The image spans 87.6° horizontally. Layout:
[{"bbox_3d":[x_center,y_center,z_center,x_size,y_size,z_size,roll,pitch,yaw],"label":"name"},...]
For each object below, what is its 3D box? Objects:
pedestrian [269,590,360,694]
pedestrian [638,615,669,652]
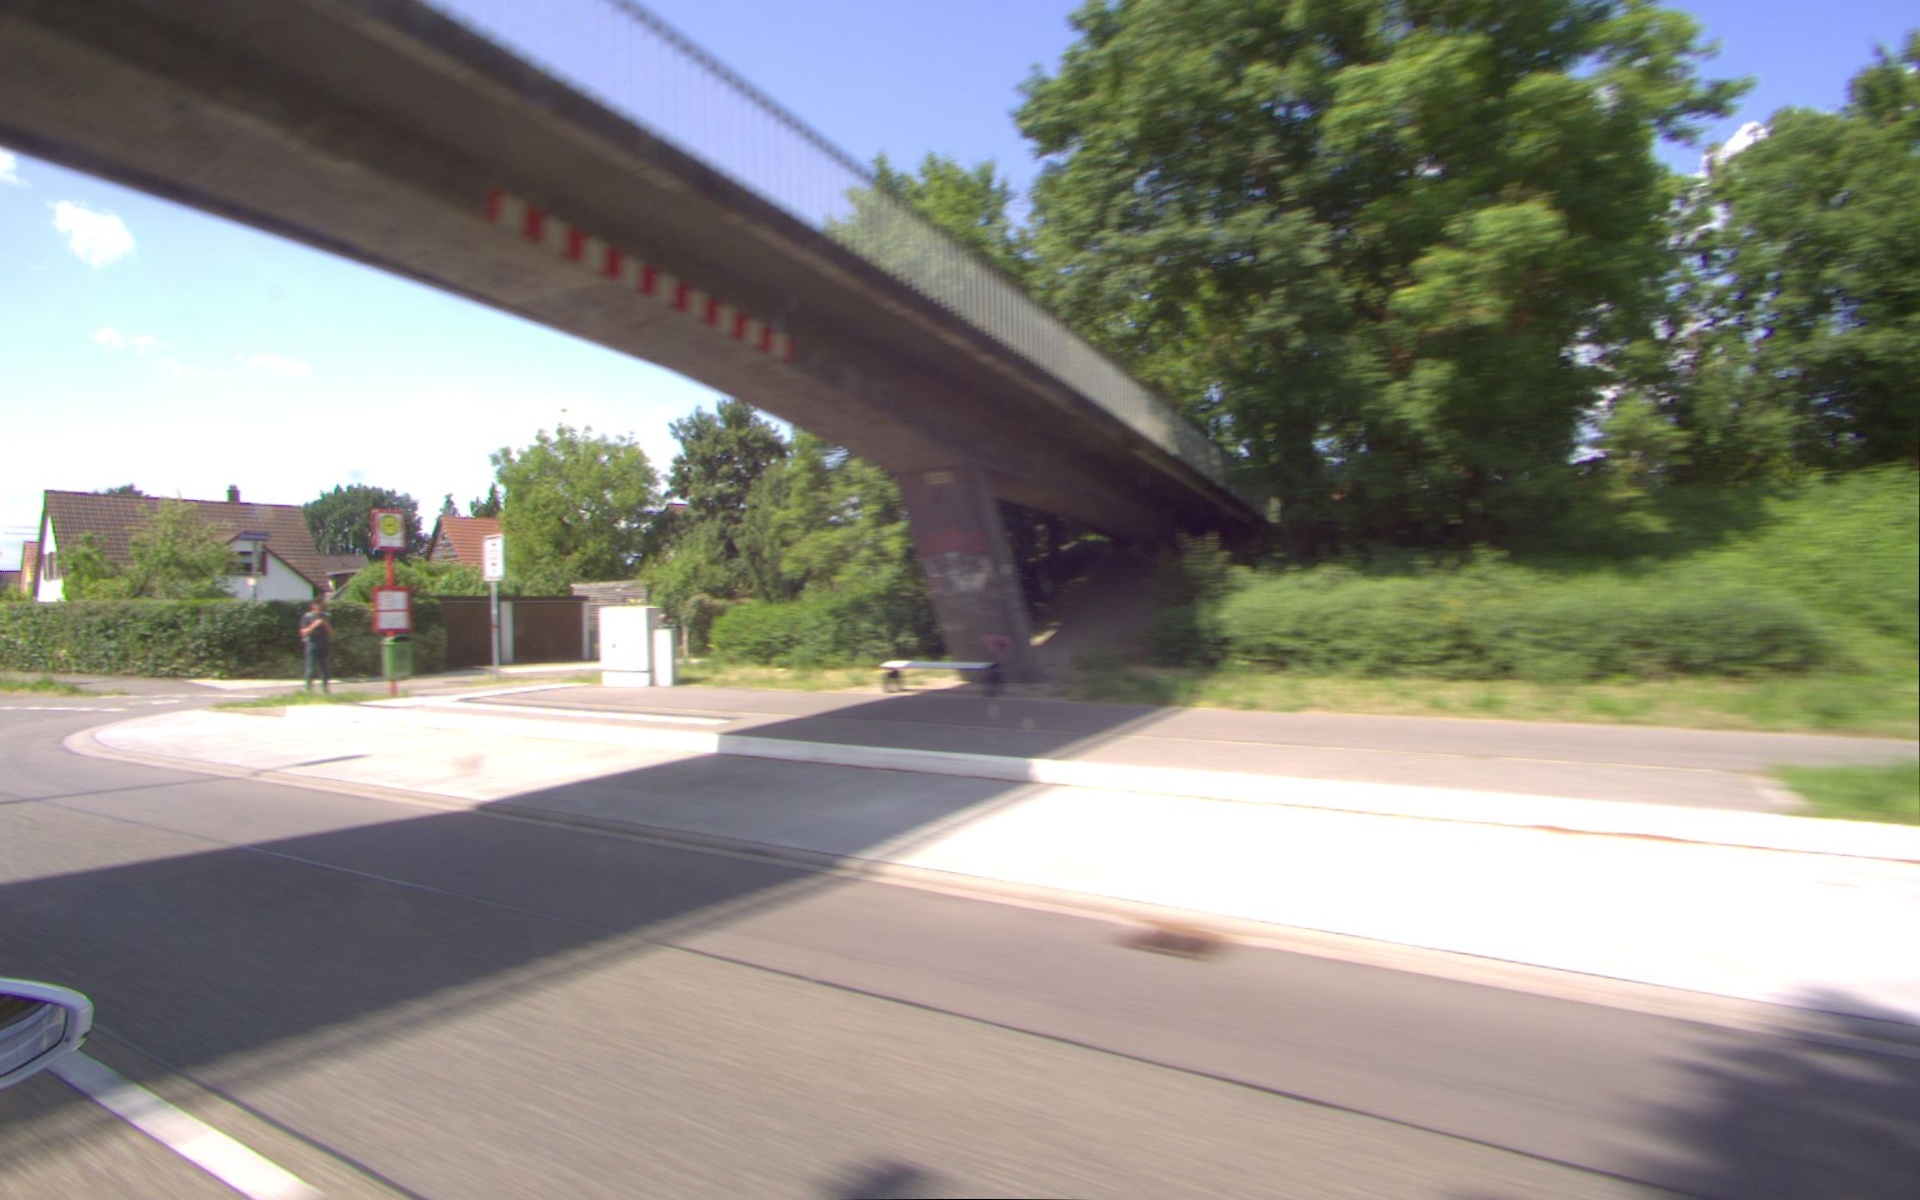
[{"bbox_3d":[-11.953,0.771,18.552,1.072,1.848,0.952,-3,0,31],"label":"pedestrian"},{"bbox_3d":[-10.832,1.179,35.424,0.909,1.317,0.635,0,0,-5],"label":"pedestrian"}]
